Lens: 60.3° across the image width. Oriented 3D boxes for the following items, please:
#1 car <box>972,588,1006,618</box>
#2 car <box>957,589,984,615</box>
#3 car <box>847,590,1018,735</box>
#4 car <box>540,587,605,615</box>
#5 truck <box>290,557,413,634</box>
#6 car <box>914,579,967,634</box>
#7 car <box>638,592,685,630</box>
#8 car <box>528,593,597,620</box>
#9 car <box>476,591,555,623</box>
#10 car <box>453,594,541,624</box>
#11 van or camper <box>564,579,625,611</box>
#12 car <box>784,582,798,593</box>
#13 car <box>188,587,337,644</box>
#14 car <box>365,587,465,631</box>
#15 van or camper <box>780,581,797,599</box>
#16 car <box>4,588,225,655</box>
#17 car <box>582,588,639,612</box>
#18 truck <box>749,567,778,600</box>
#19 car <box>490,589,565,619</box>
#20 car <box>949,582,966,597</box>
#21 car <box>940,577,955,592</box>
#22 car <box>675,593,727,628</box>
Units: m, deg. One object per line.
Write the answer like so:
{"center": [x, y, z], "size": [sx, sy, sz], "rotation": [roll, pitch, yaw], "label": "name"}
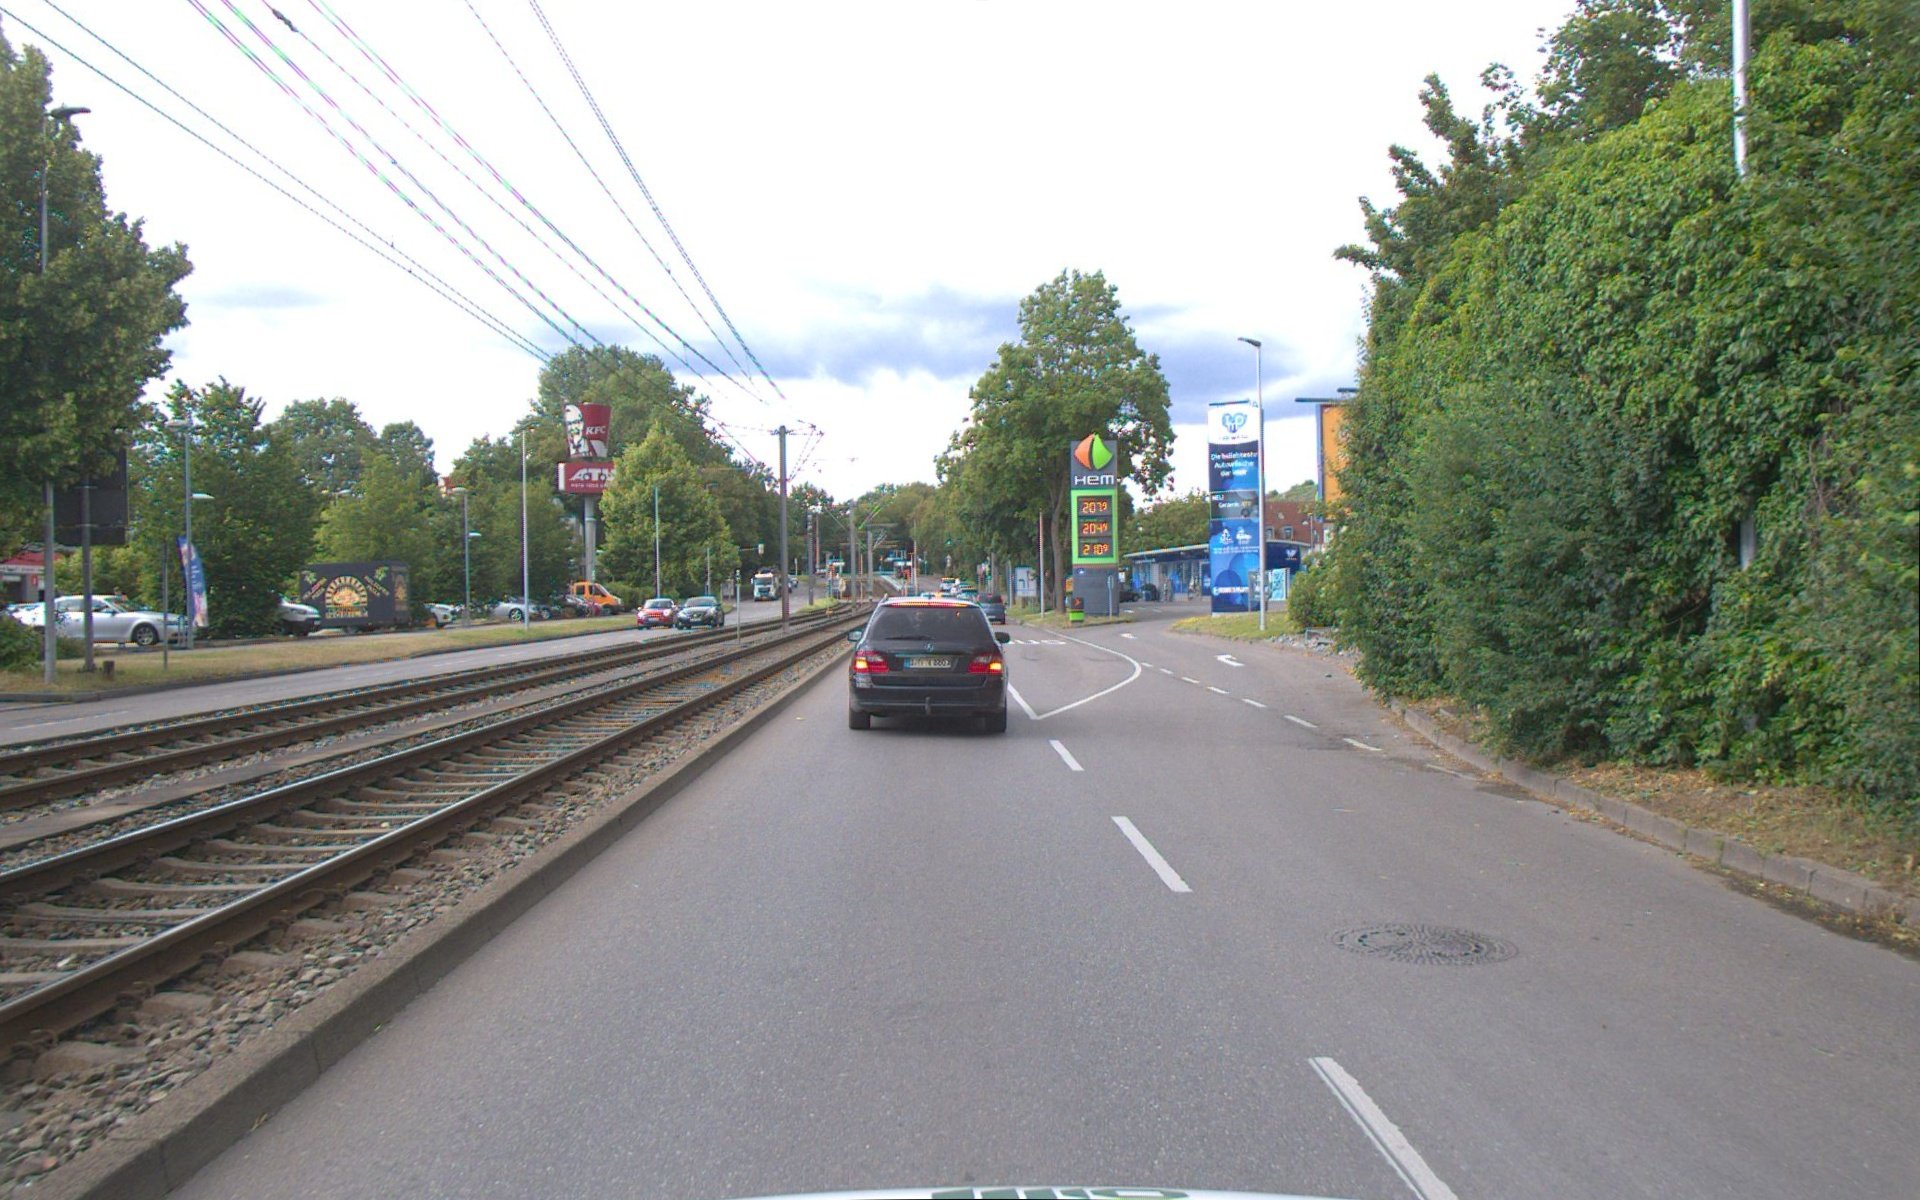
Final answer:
{"center": [1.401, 0.159, 81.376], "size": [1.539, 1.439, 3.353], "rotation": [1, 0, -1], "label": "car"}
{"center": [0.608, 0.107, 96.209], "size": [1.436, 1.439, 3.353], "rotation": [1, 0, -1], "label": "car"}
{"center": [-0.316, 0.638, 19.150], "size": [1.772, 1.500, 3.880], "rotation": [0, 0, -1], "label": "car"}
{"center": [-25.477, 0.042, 108.849], "size": [3.910, 1.829, 1.876], "rotation": [0, 0, -6], "label": "car"}
{"center": [-23.687, -0.181, 64.565], "size": [3.908, 2.871, 2.374], "rotation": [-1, 0, -4], "label": "truck"}
{"center": [-0.682, 0.219, 56.561], "size": [1.744, 1.781, 3.717], "rotation": [1, 0, -1], "label": "car"}
{"center": [-14.754, 0.542, 81.867], "size": [1.756, 1.803, 3.998], "rotation": [-1, 0, -3], "label": "car"}
{"center": [-24.890, 0.398, 103.649], "size": [3.910, 1.627, 1.876], "rotation": [-2, 0, -6], "label": "car"}
{"center": [-24.587, 0.383, 91.639], "size": [3.910, 1.663, 1.876], "rotation": [-2, 0, -6], "label": "car"}
{"center": [-24.708, 0.472, 88.409], "size": [4.221, 1.497, 1.679], "rotation": [-1, 0, -4], "label": "car"}
{"center": [-25.175, -0.333, 113.950], "size": [3.910, 2.172, 1.876], "rotation": [0, 0, -6], "label": "van or camper"}
{"center": [-25.768, -1.867, 252.520], "size": [1.729, 1.676, 3.770], "rotation": [1, 0, -1], "label": "car"}
{"center": [-23.393, 0.502, 55.609], "size": [4.136, 1.757, 1.994], "rotation": [-2, 0, -3], "label": "car"}
{"center": [-24.375, 0.379, 74.076], "size": [3.910, 1.829, 1.876], "rotation": [-2, 0, -6], "label": "car"}
{"center": [-23.690, -1.339, 228.723], "size": [1.954, 2.395, 5.762], "rotation": [-1, 0, -3], "label": "van or camper"}
{"center": [-23.349, 0.571, 45.851], "size": [4.683, 1.657, 2.652], "rotation": [-1, 1, -1], "label": "car"}
{"center": [-25.870, -0.010, 122.526], "size": [3.910, 1.627, 1.794], "rotation": [-2, 0, -6], "label": "car"}
{"center": [-23.023, -1.928, 194.031], "size": [2.653, 3.727, 11.103], "rotation": [-1, 0, -4], "label": "truck"}
{"center": [-25.165, 0.234, 96.316], "size": [3.910, 1.627, 1.876], "rotation": [-2, 0, -6], "label": "car"}
{"center": [-0.302, -1.247, 196.120], "size": [1.953, 1.744, 3.999], "rotation": [-1, 0, -1], "label": "car"}
{"center": [-1.617, -1.988, 216.173], "size": [1.953, 1.870, 3.999], "rotation": [1, 0, -1], "label": "car"}
{"center": [-11.673, 0.465, 74.871], "size": [1.724, 1.425, 4.442], "rotation": [-4, 0, -2], "label": "car"}
